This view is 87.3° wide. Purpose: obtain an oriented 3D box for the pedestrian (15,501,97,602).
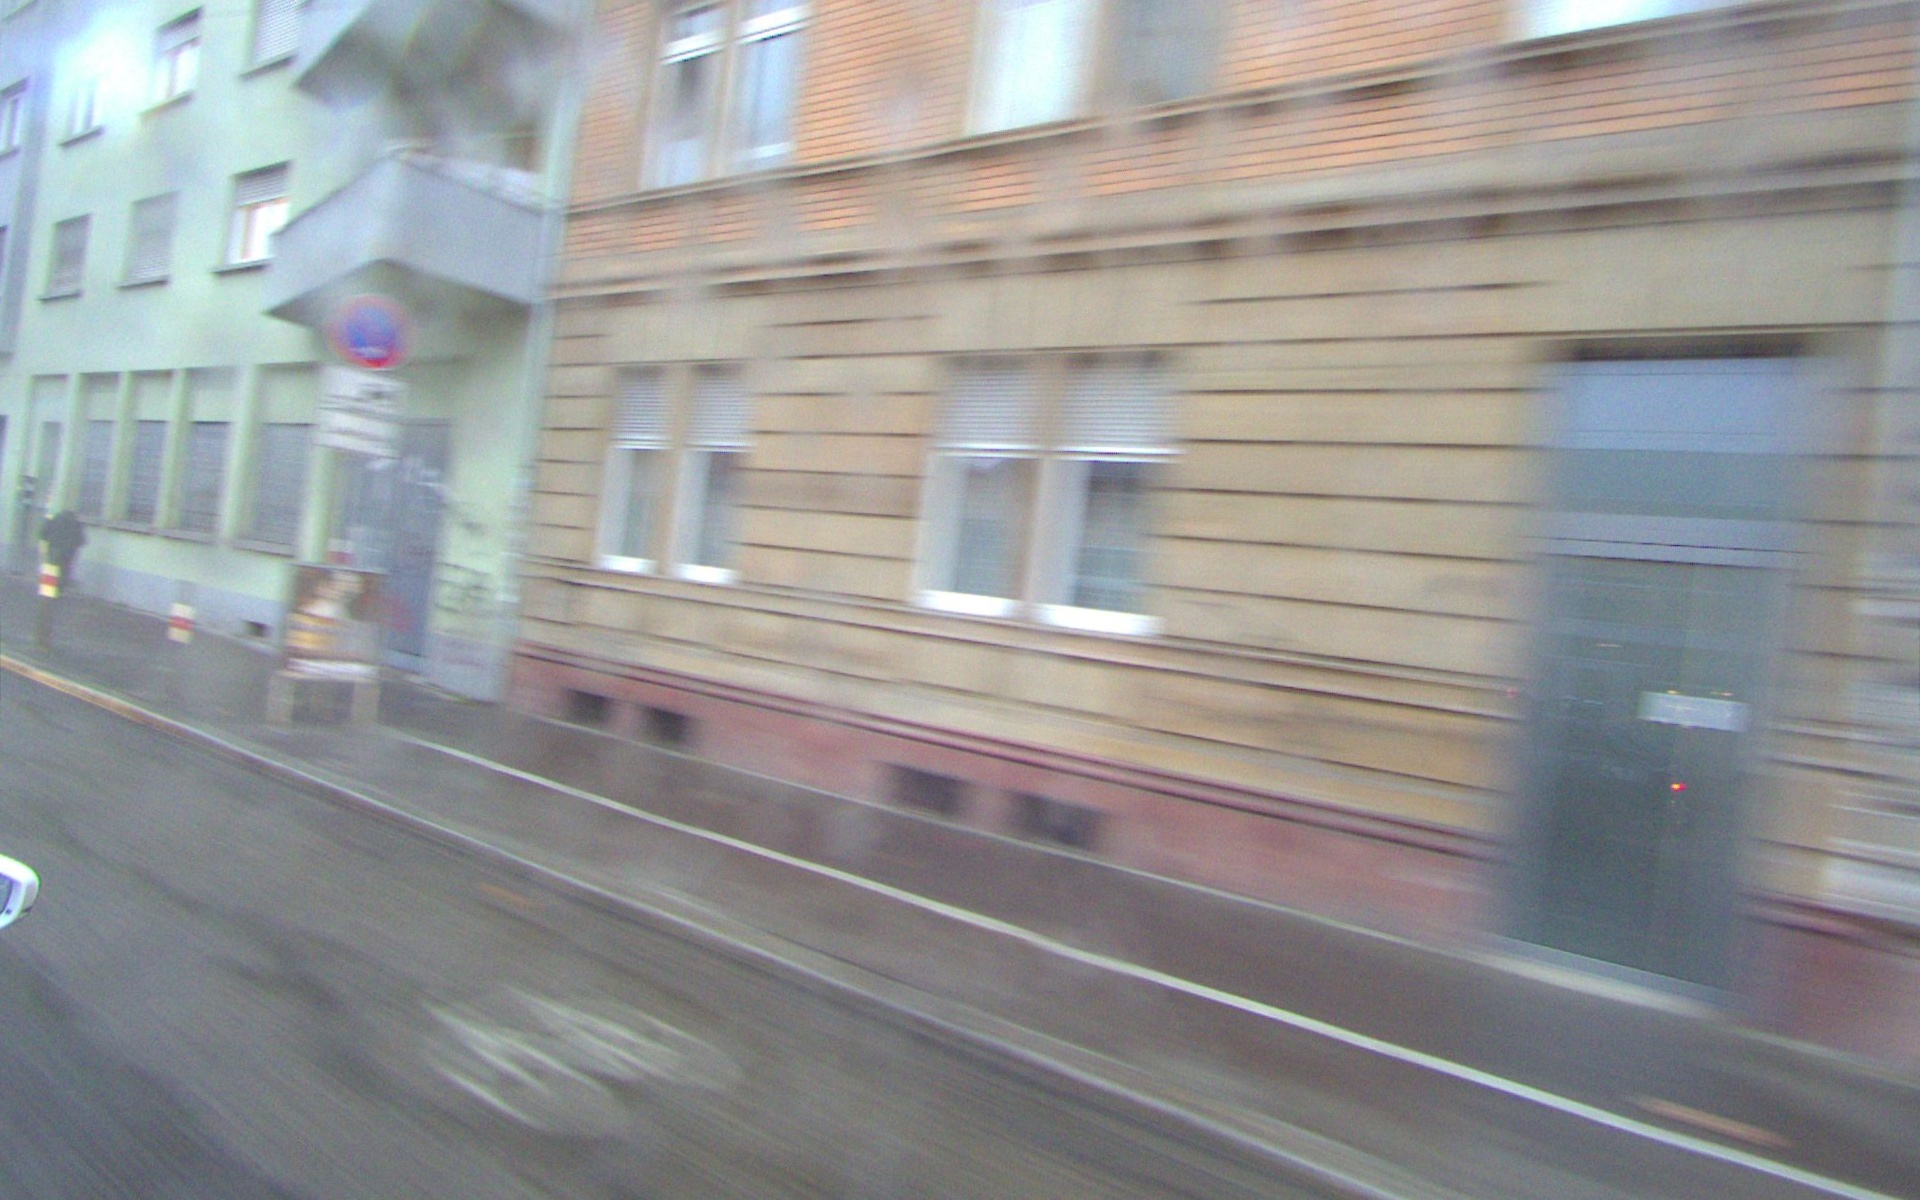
[{"bbox_3d":[-13.581,-0.723,15.116,0.716,1.393,0.601,7,-1,32],"label":"pedestrian"}]
